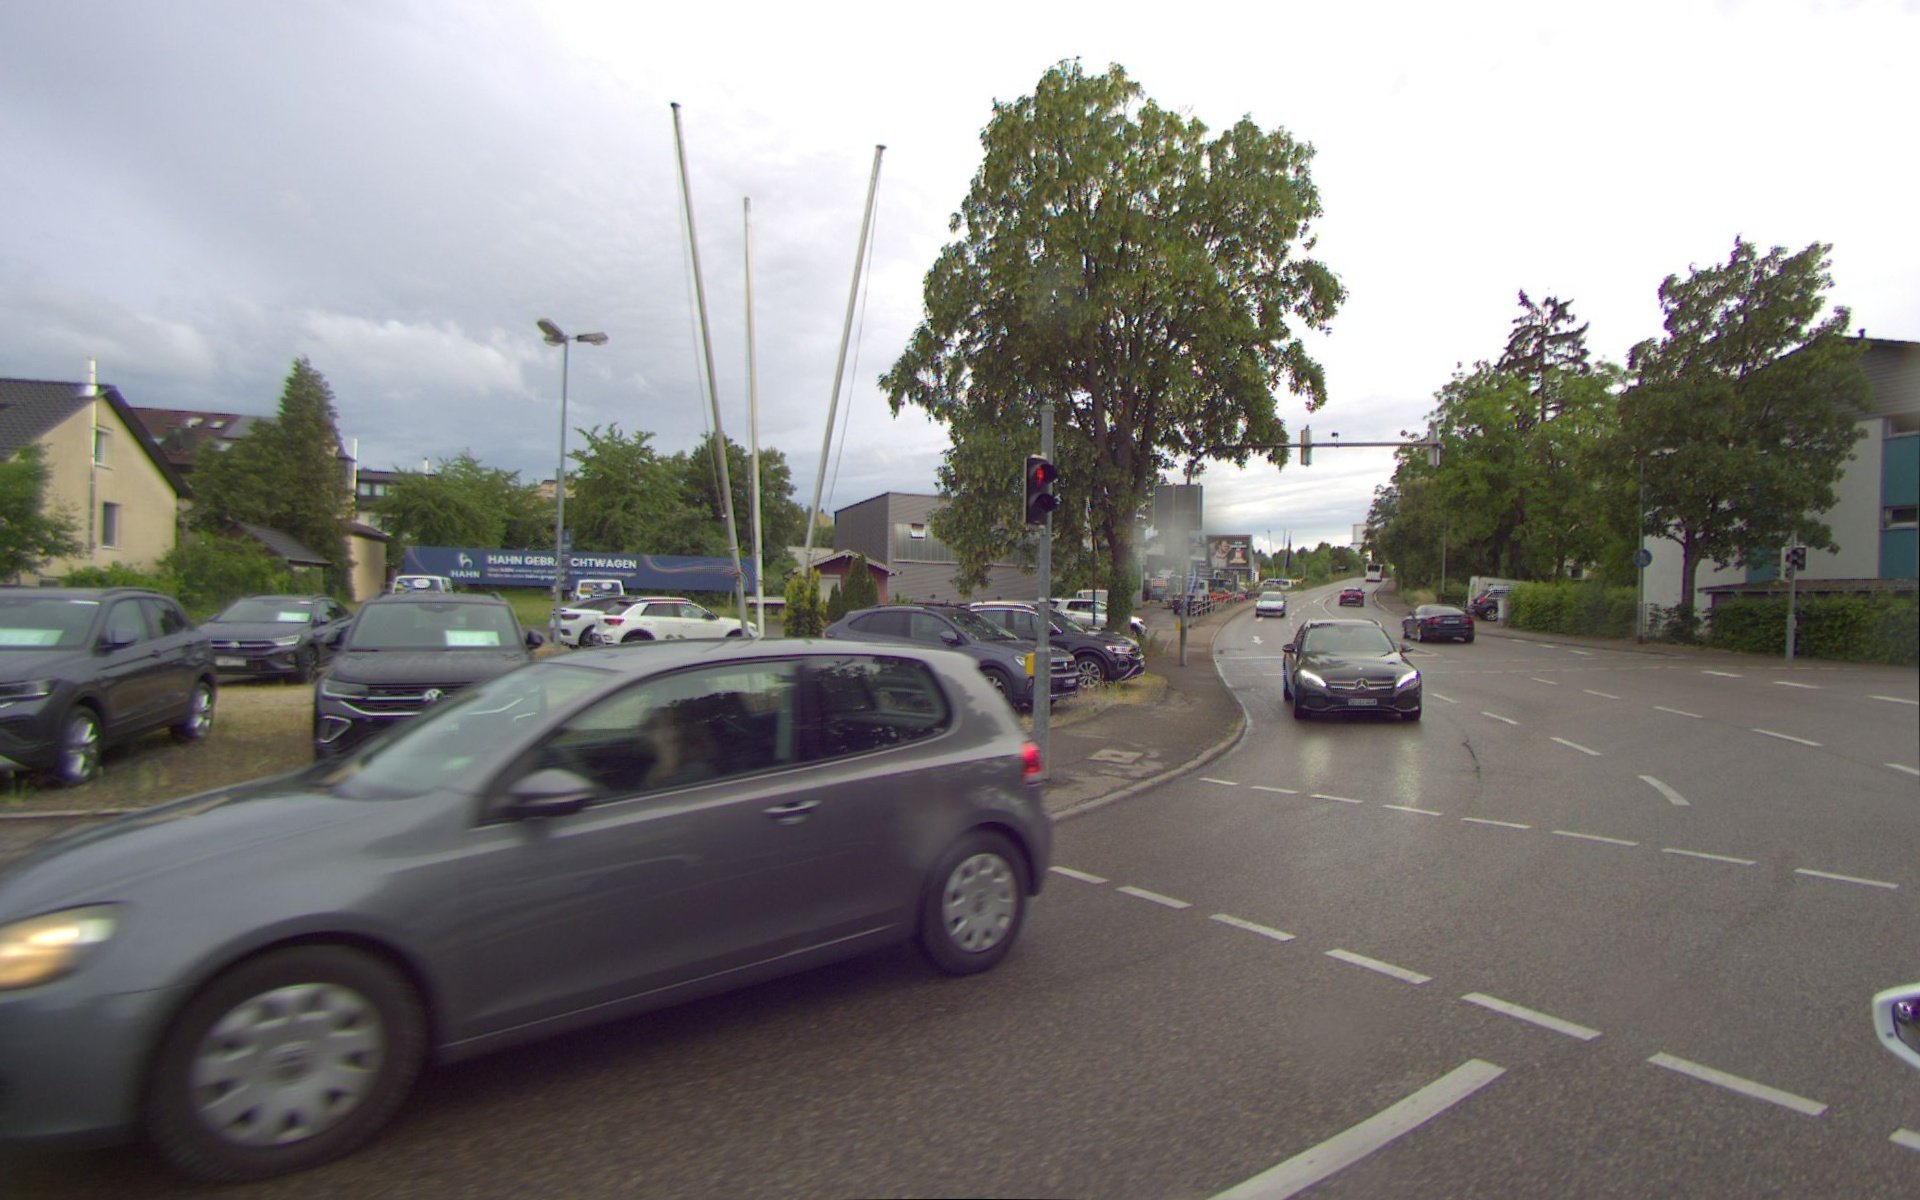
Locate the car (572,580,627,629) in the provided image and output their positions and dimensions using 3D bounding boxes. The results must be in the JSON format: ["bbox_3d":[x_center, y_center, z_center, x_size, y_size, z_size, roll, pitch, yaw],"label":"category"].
[{"bbox_3d":[-14.703,0.143,40.807,1.971,1.896,4.428,0,1,-22],"label":"car"}]

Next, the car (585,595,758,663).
[{"bbox_3d":[-7.327,0.688,25.625,3.957,1.576,1.697,0,1,-33],"label":"car"}]

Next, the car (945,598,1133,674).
[{"bbox_3d":[1.792,0.749,22.375,3.919,1.530,1.758,1,1,15],"label":"car"}]

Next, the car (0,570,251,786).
[{"bbox_3d":[-8.052,0.526,8.899,1.663,1.551,3.945,0,1,-16],"label":"car"}]

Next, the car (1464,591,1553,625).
[{"bbox_3d":[29.602,0.398,54.326,3.922,1.747,1.999,1,1,21],"label":"car"}]

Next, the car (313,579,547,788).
[{"bbox_3d":[-4.927,0.592,9.564,1.601,1.551,3.932,0,1,-26],"label":"car"}]

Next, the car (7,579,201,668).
[{"bbox_3d":[-15.440,0.361,18.340,1.568,1.447,3.625,0,1,-22],"label":"car"}]

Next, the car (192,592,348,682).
[{"bbox_3d":[-12.127,0.577,17.879,1.495,1.393,3.625,0,1,-21],"label":"car"}]

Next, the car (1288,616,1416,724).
[{"bbox_3d":[6.418,1.026,16.295,1.679,1.410,4.347,-1,0,23],"label":"car"}]

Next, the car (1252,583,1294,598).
[{"bbox_3d":[38.853,-1.176,124.856,4.686,1.645,1.811,1,0,-10],"label":"car"}]

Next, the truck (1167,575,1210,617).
[{"bbox_3d":[14.912,-0.287,65.357,1.961,2.573,5.557,1,1,21],"label":"truck"}]

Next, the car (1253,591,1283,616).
[{"bbox_3d":[18.384,0.192,60.022,1.560,1.423,3.709,1,1,15],"label":"car"}]

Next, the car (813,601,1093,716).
[{"bbox_3d":[-0.147,0.811,15.259,3.913,1.510,1.753,-1,1,32],"label":"car"}]

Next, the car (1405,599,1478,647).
[{"bbox_3d":[17.792,0.799,37.287,1.960,1.595,4.000,1,1,19],"label":"car"}]

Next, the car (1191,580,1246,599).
[{"bbox_3d":[23.407,-0.951,90.892,4.676,1.645,1.815,1,0,16],"label":"car"}]

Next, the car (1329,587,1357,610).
[{"bbox_3d":[30.211,-0.123,79.111,1.961,1.706,3.998,1,0,22],"label":"car"}]

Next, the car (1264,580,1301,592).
[{"bbox_3d":[45.804,-1.998,142.740,4.686,1.645,1.811,1,0,-10],"label":"car"}]

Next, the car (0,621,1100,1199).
[{"bbox_3d":[-1.353,0.887,4.233,3.971,1.475,1.708,-1,-2,-43],"label":"car"}]

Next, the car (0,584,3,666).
[{"bbox_3d":[-17.442,0.467,16.000,1.565,1.447,3.634,0,1,-14],"label":"car"}]

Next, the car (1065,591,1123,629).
[{"bbox_3d":[7.353,0.516,55.596,1.965,2.021,3.991,0,1,-12],"label":"car"}]

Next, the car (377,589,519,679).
[{"bbox_3d":[-9.372,0.642,18.663,1.564,1.483,3.763,0,-2,-15],"label":"car"}]

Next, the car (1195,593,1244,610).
[{"bbox_3d":[22.635,0.164,87.861,3.919,1.394,1.815,1,0,7],"label":"car"}]

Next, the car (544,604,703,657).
[{"bbox_3d":[-9.423,0.808,28.197,3.957,1.331,1.697,0,1,-33],"label":"car"}]

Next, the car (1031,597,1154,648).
[{"bbox_3d":[4.707,0.801,35.846,3.936,1.542,1.753,4,0,-17],"label":"car"}]

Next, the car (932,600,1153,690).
[{"bbox_3d":[1.612,0.841,19.431,3.922,1.576,1.757,-1,1,20],"label":"car"}]

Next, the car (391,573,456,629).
[{"bbox_3d":[-20.323,0.004,38.180,1.698,2.000,4.172,0,1,-21],"label":"car"}]
